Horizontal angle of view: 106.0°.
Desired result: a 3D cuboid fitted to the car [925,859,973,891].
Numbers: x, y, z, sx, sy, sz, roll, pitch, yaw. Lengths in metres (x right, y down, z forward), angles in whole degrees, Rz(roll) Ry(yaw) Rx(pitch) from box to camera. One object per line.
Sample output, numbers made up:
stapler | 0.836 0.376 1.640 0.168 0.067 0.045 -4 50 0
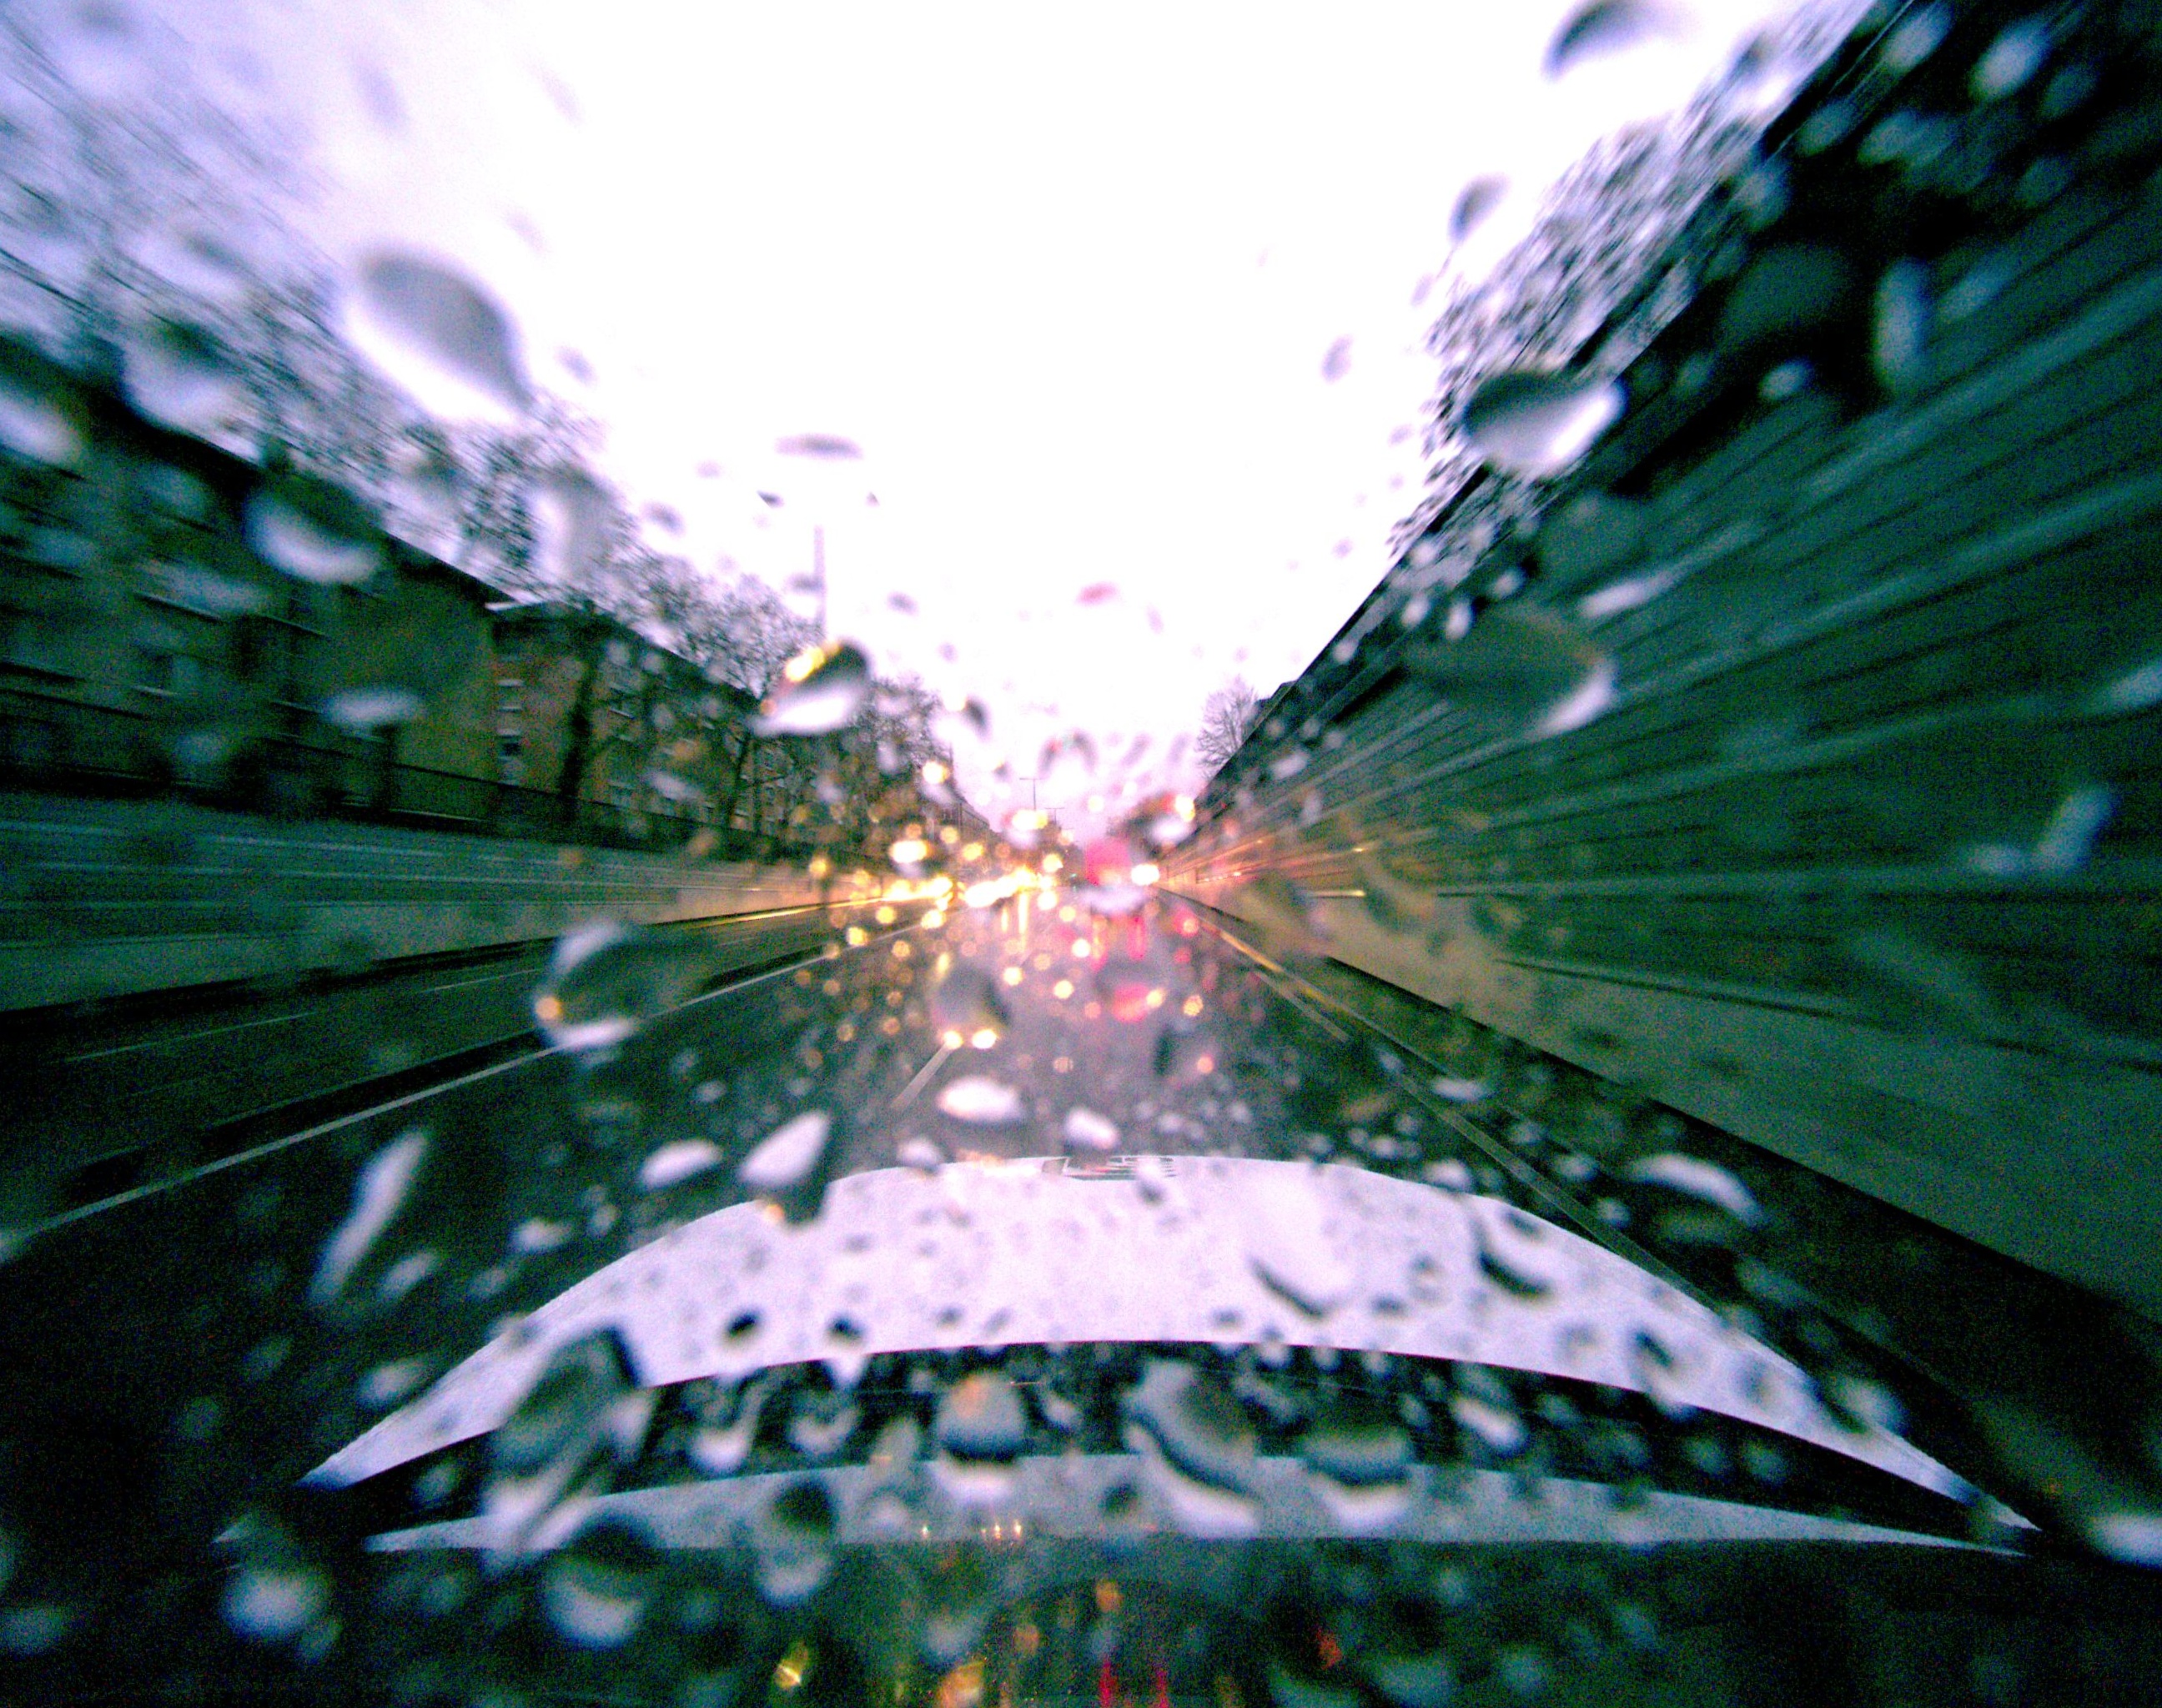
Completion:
car | -7.313 1.118 45.391 1.778 1.592 3.843 -4 0 2

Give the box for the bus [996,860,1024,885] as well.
bus | -6.107 1.620 70.974 1.668 1.965 5.176 -5 -1 2

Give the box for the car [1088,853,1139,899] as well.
car | 1.056 0.754 26.902 1.526 1.397 3.434 -1 -3 2
